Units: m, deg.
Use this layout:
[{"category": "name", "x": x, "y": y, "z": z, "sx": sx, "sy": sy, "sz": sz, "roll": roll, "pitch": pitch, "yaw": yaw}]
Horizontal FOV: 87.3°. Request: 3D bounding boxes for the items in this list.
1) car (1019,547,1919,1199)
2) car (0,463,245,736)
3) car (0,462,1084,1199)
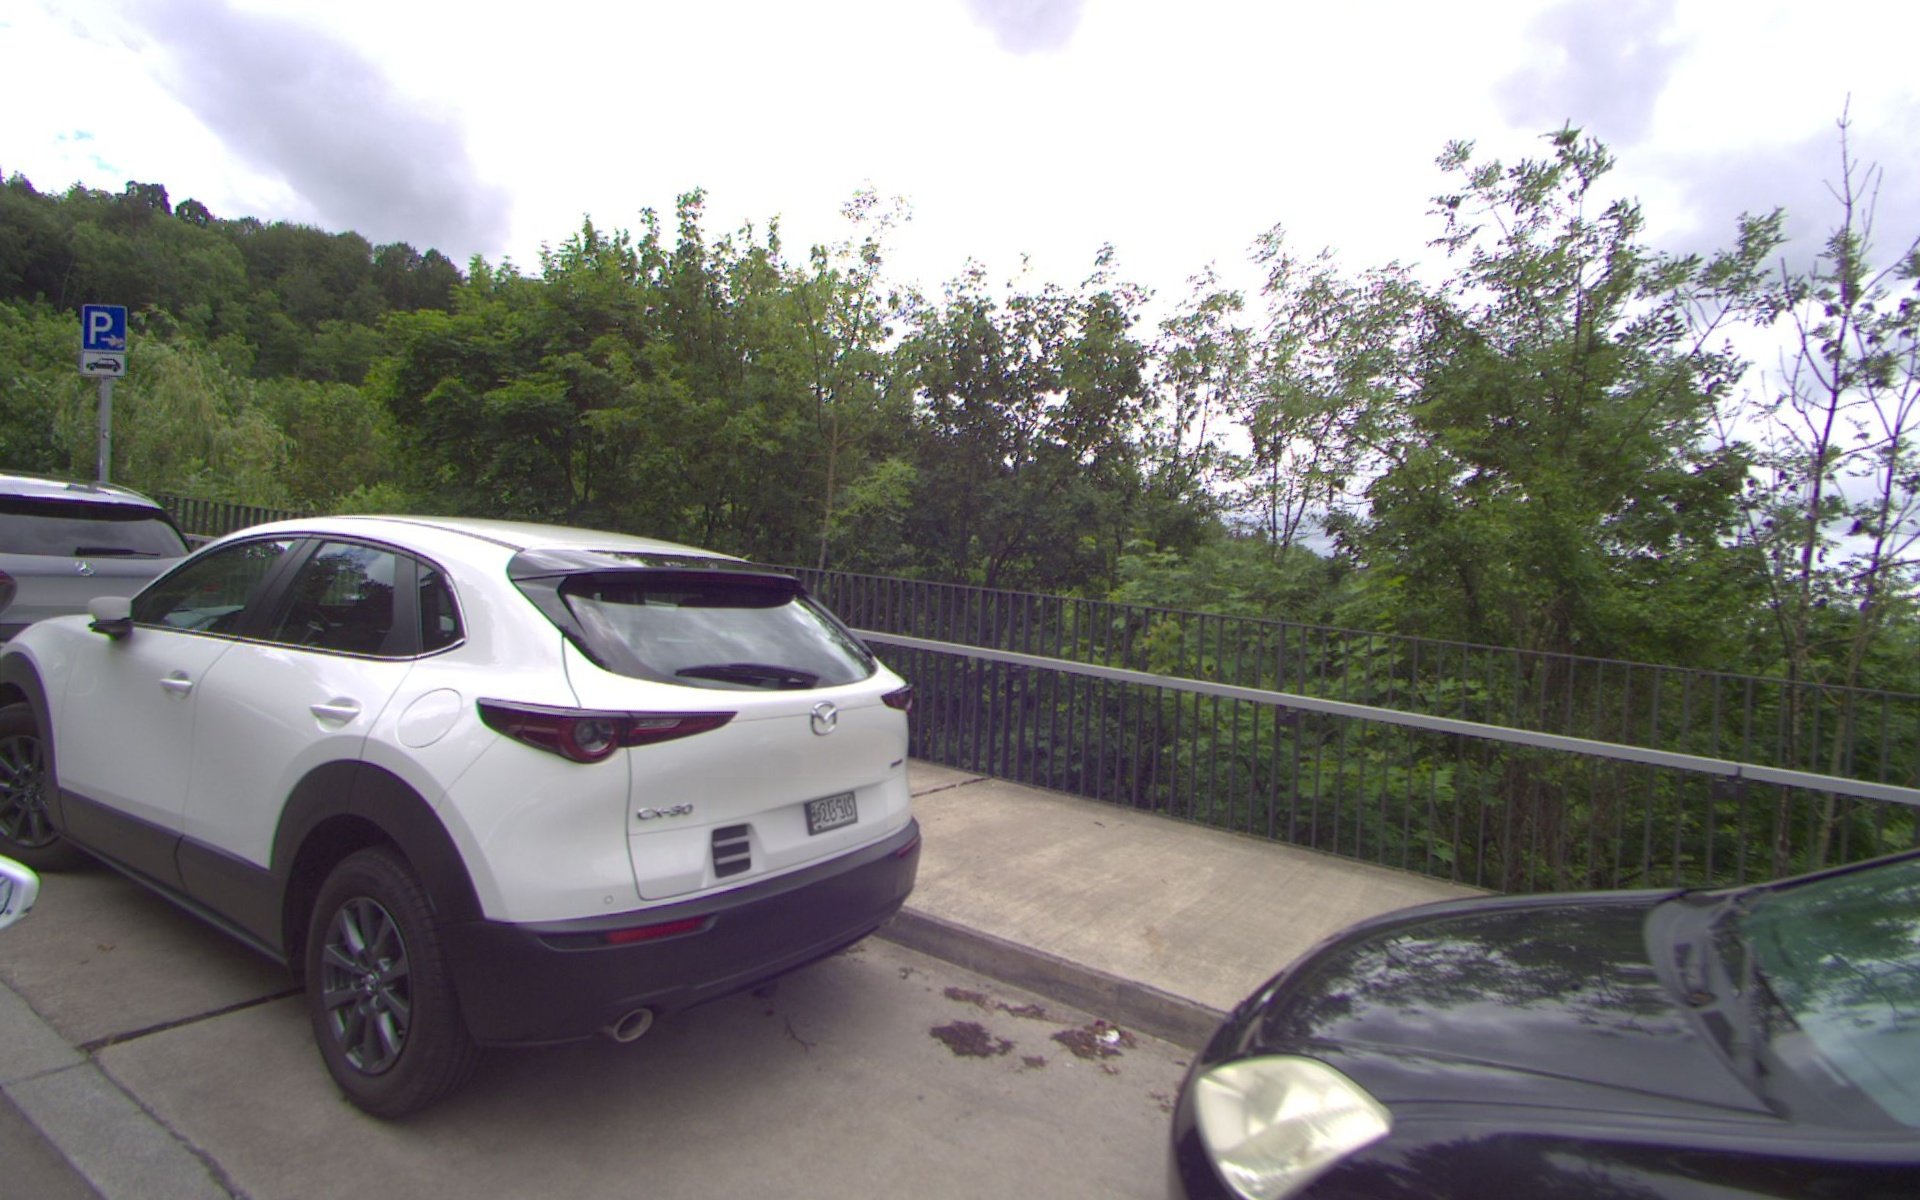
[{"category": "car", "x": 2.320, "y": 0.925, "z": 1.287, "sx": 4.185, "sy": 1.593, "sz": 1.659, "roll": 7, "pitch": 3, "yaw": 32}, {"category": "car", "x": -7.136, "y": -0.203, "z": 7.171, "sx": 4.354, "sy": 1.565, "sz": 1.756, "roll": 7, "pitch": 3, "yaw": 32}, {"category": "car", "x": -2.037, "y": 0.445, "z": 3.752, "sx": 4.548, "sy": 1.589, "sz": 1.727, "roll": 6, "pitch": 1, "yaw": 32}]
